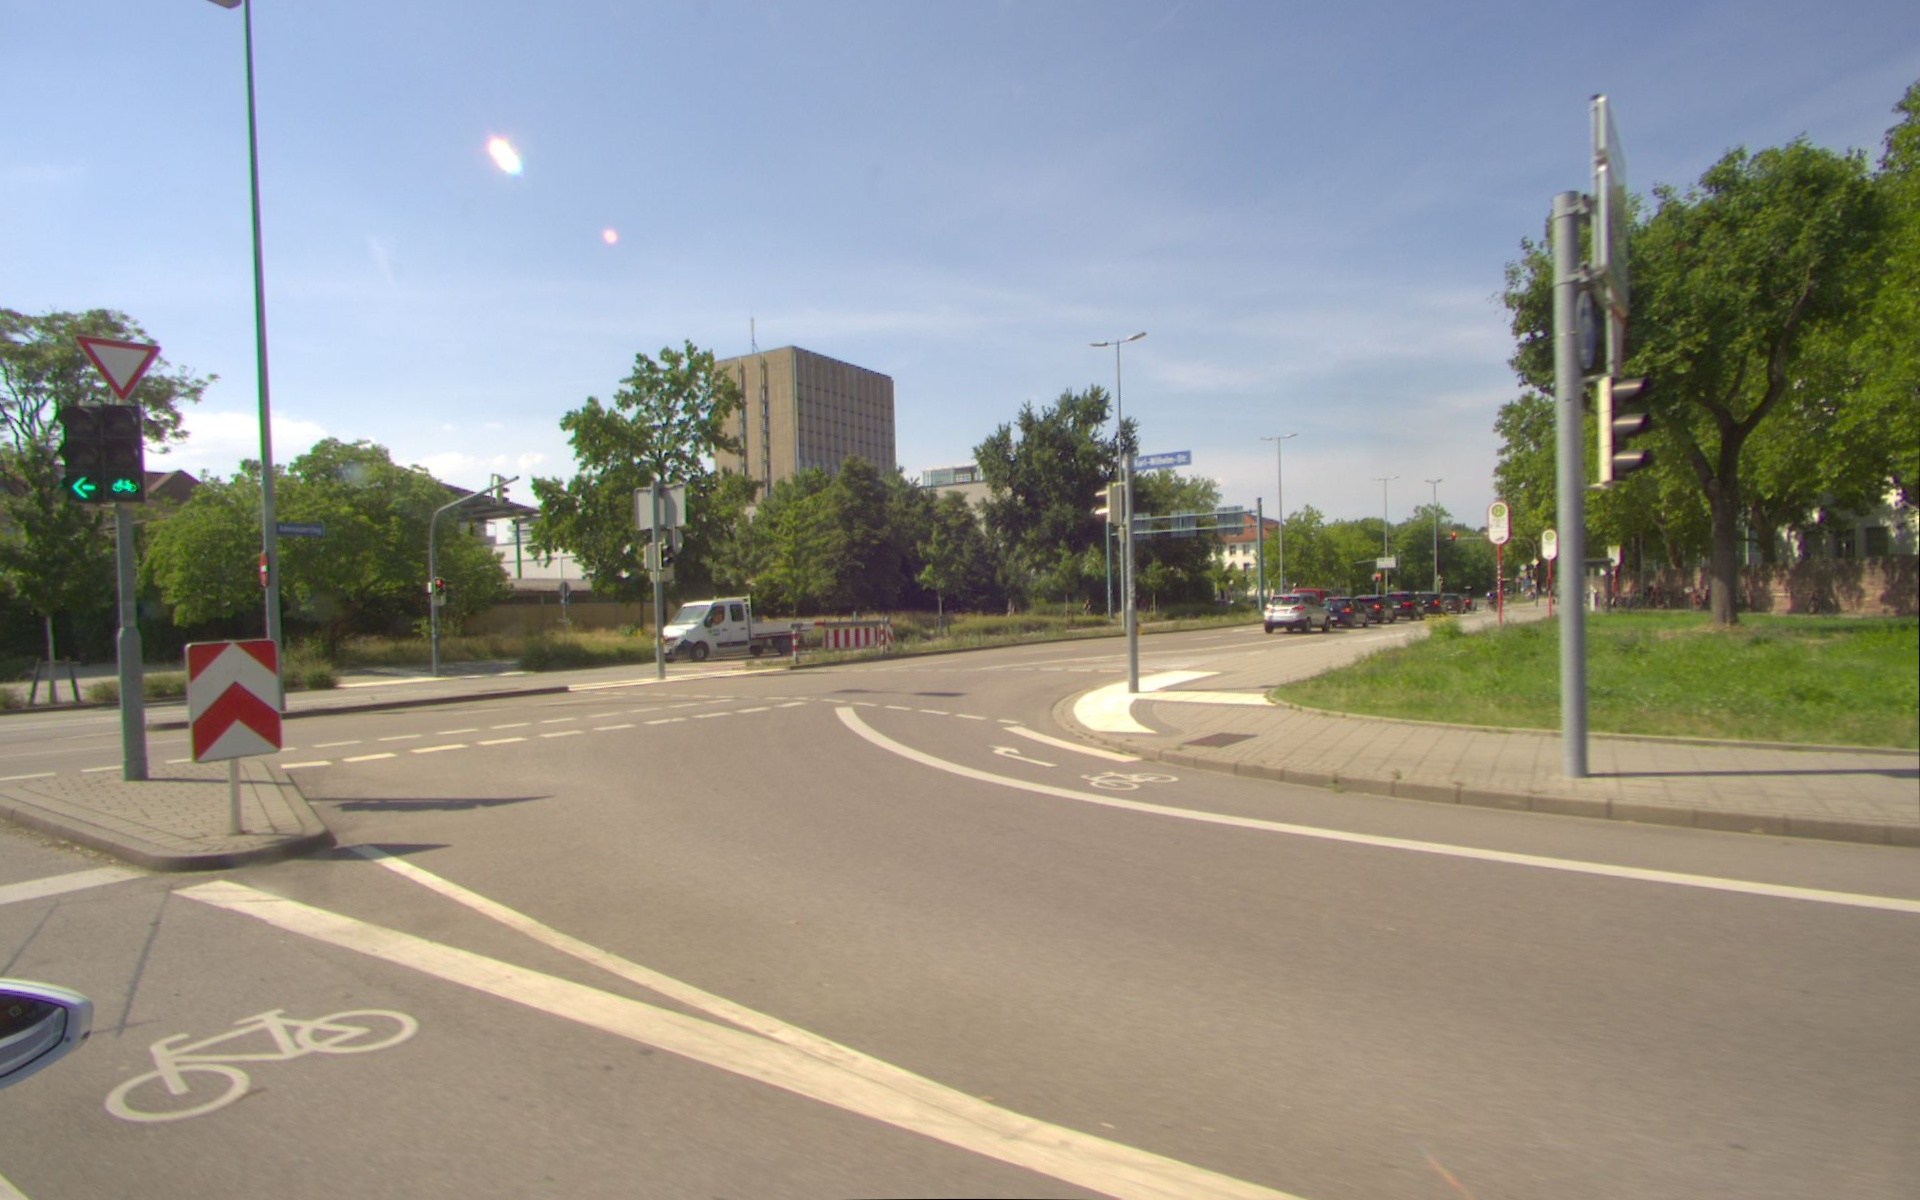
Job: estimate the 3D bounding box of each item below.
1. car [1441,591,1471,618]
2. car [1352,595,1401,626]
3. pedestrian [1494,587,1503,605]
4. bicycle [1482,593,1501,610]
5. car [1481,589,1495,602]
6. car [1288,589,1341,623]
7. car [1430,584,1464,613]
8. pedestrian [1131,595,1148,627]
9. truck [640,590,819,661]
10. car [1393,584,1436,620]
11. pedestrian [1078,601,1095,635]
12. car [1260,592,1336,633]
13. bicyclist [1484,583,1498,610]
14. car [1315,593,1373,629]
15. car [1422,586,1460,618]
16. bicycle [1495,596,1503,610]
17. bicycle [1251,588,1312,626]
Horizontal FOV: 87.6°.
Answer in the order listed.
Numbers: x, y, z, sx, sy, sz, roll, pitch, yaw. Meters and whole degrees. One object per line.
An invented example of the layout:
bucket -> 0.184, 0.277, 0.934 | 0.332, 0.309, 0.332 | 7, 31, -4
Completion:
car -> 39.792, 0.396, 80.329 | 1.970, 2.039, 3.984 | -1, -2, 29
car -> 22.792, 0.552, 54.757 | 1.564, 1.612, 3.972 | -1, 1, 36
pedestrian -> 43.775, -0.304, 81.385 | 0.552, 1.458, 0.729 | -1, 1, 30
bicycle -> 41.735, 0.130, 78.610 | 0.838, 1.233, 3.462 | -1, -2, 37
car -> 94.285, -0.829, 178.860 | 1.968, 2.039, 3.988 | -1, -2, 26
car -> 20.206, 0.317, 56.961 | 1.950, 1.821, 4.587 | -1, 1, 31
car -> 36.333, -0.101, 74.656 | 1.970, 2.040, 3.980 | -1, 1, 30
pedestrian -> 14.482, 0.902, 80.741 | 0.941, 2.566, 1.118 | -1, -2, 32
truck -> -8.693, 0.908, 38.718 | 2.380, 2.386, 7.007 | -3, -1, 32
car -> 27.296, 0.098, 60.119 | 1.970, 2.040, 3.980 | -1, 1, 30
pedestrian -> 9.669, 1.394, 76.623 | 0.941, 2.566, 1.118 | -1, -2, 32
car -> 14.570, 0.505, 42.982 | 1.691, 1.640, 4.183 | -1, 1, 40
bicyclist -> 41.720, -0.289, 78.635 | 0.769, 2.039, 1.265 | -1, -2, 38
car -> 18.551, 0.528, 48.325 | 1.564, 1.612, 3.971 | -1, 1, 37
car -> 32.370, 0.092, 67.327 | 1.970, 2.040, 3.980 | -1, 1, 30
bicycle -> 43.818, 0.226, 81.442 | 0.552, 1.066, 1.318 | -1, 1, 30
bicycle -> 16.748, 0.345, 52.036 | 1.973, 1.839, 3.976 | -2, 0, 34
